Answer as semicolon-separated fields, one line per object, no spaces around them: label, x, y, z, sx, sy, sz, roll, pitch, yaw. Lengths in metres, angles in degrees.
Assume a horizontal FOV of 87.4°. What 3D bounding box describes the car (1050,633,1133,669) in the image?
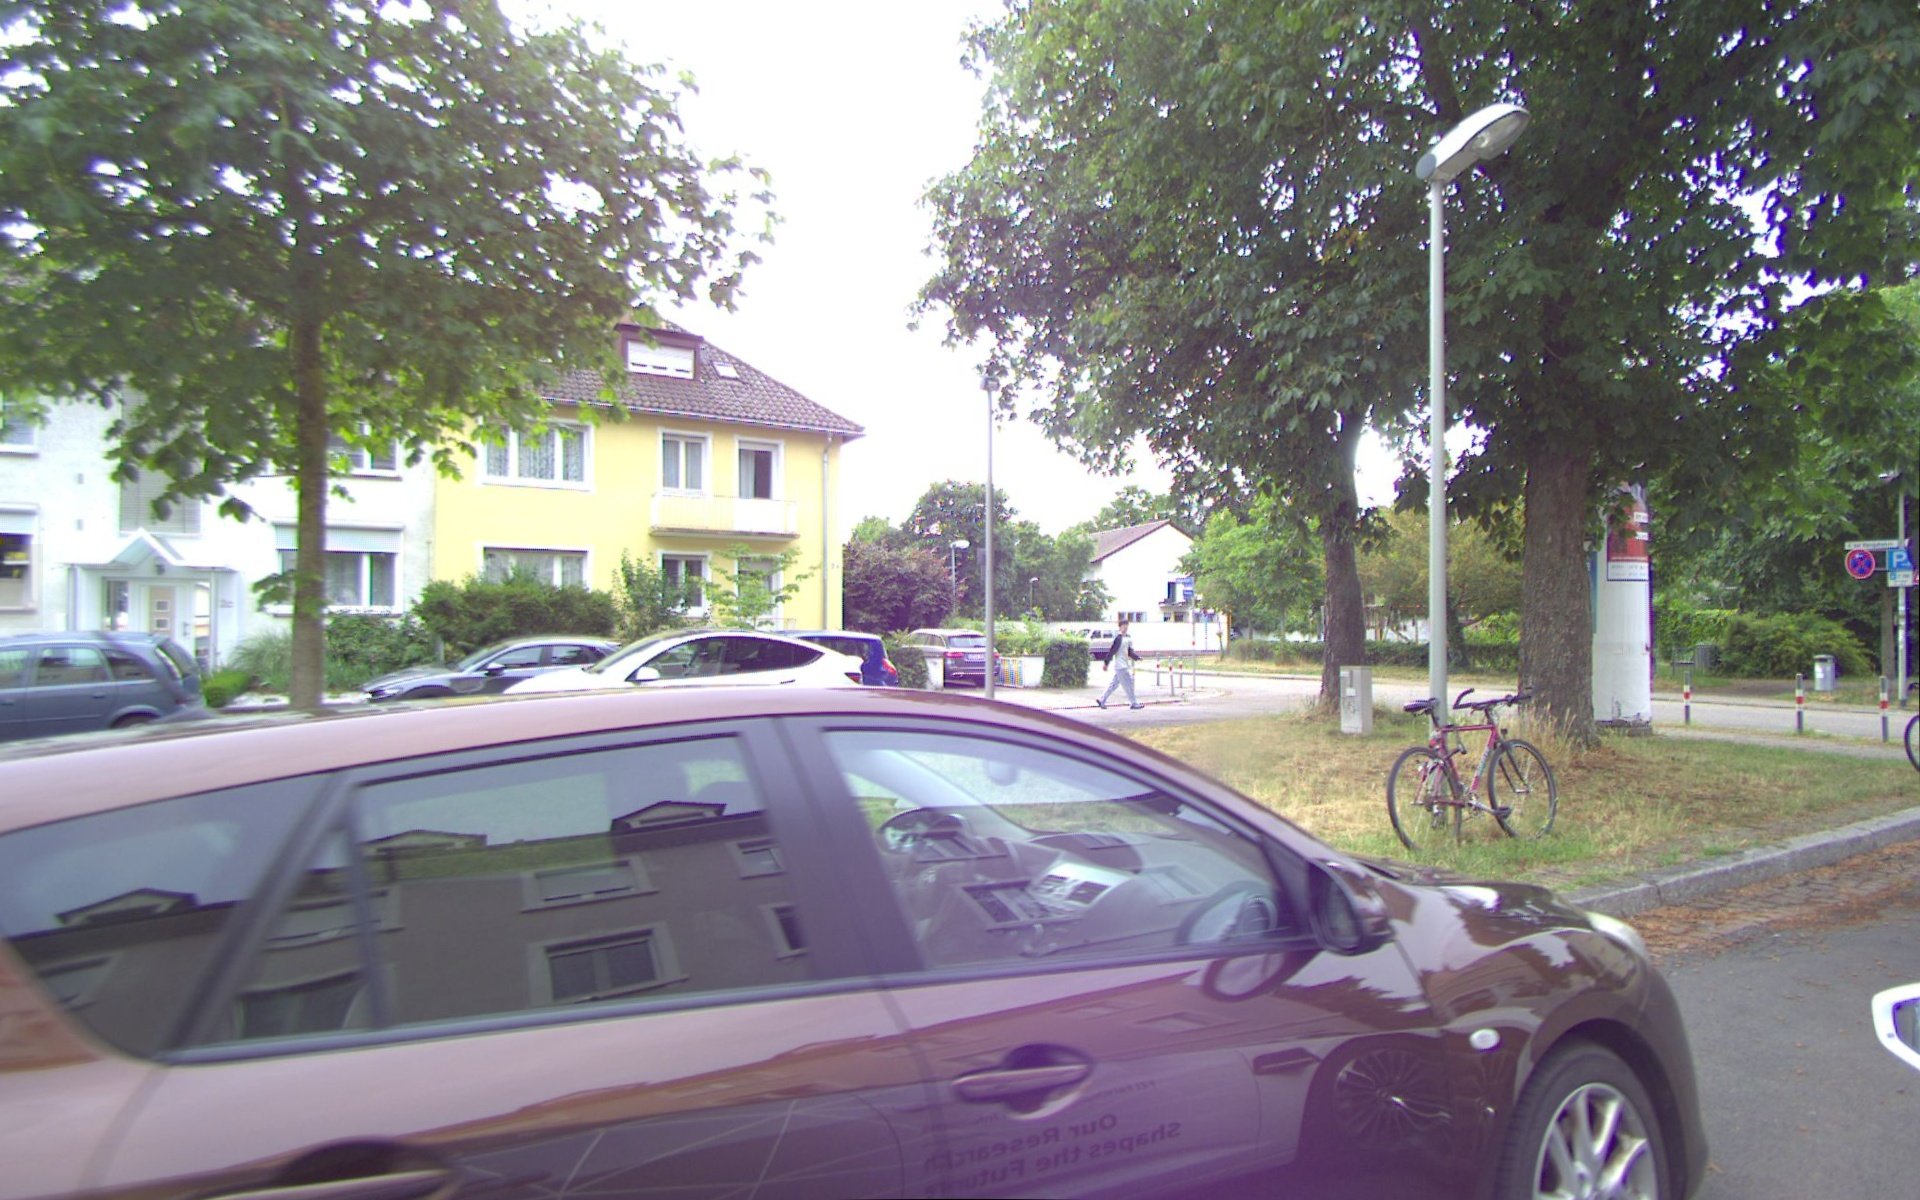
car;7.576;2.893;57.863;4.437;1.884;1.985;0;0;-28

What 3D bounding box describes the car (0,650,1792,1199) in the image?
car;-0.212;0.972;2.210;4.112;1.476;1.705;0;-7;-30

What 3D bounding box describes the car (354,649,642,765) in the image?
car;-7.524;1.655;16.517;4.117;1.520;1.706;0;0;-30

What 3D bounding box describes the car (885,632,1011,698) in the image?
car;-0.407;1.709;27.257;1.820;1.631;3.972;0;-2;-28

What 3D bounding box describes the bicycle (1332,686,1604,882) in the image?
bicycle;3.455;1.174;6.801;1.861;1.080;0.663;0;-2;-28

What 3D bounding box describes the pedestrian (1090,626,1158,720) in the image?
pedestrian;3.364;1.474;20.582;1.196;1.860;0.879;-2;-2;22

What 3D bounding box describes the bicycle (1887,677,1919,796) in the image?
bicycle;9.447;1.234;9.463;2.158;0.999;0.508;0;1;-32

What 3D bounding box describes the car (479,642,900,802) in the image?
car;-3.340;1.380;12.661;4.825;1.587;1.888;0;-2;-30

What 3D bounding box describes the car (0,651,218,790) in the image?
car;-12.550;1.605;13.603;3.840;1.623;1.705;0;0;-31

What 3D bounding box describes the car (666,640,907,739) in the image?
car;-3.217;1.588;18.752;4.154;1.587;1.694;0;-1;-26
